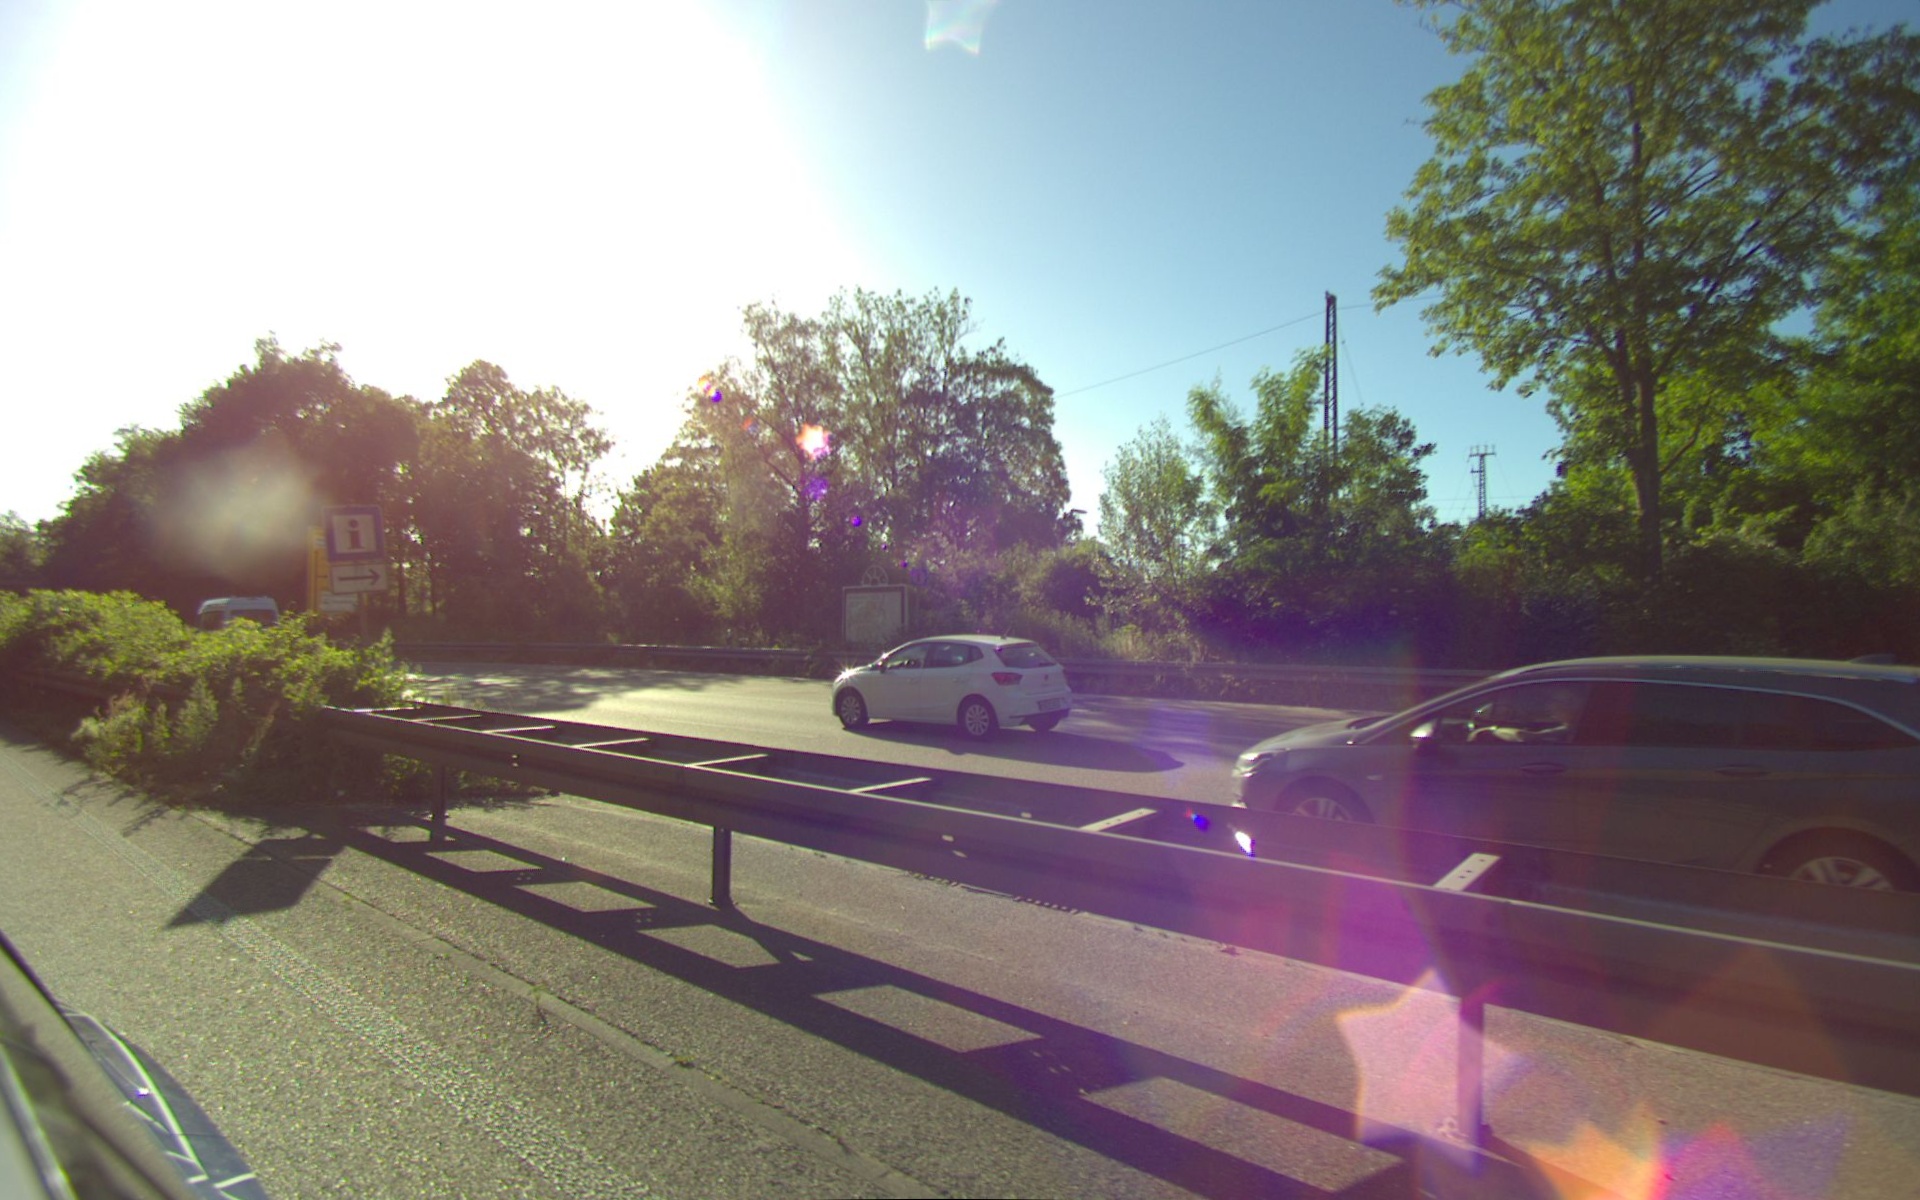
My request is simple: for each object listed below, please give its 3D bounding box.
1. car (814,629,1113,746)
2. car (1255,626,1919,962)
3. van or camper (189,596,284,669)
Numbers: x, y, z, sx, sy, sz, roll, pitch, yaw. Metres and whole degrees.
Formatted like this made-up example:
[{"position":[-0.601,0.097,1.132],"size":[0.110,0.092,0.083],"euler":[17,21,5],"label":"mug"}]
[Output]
[{"position":[-0.046,1.214,15.416],"size":[4.323,1.461,1.940],"euler":[-2,-1,41],"label":"car"},{"position":[4.352,0.959,6.227],"size":[4.462,1.552,1.940],"euler":[-2,-1,41],"label":"car"},{"position":[-29.034,1.298,40.549],"size":[5.251,2.743,1.972],"euler":[-2,-2,41],"label":"van or camper"}]
